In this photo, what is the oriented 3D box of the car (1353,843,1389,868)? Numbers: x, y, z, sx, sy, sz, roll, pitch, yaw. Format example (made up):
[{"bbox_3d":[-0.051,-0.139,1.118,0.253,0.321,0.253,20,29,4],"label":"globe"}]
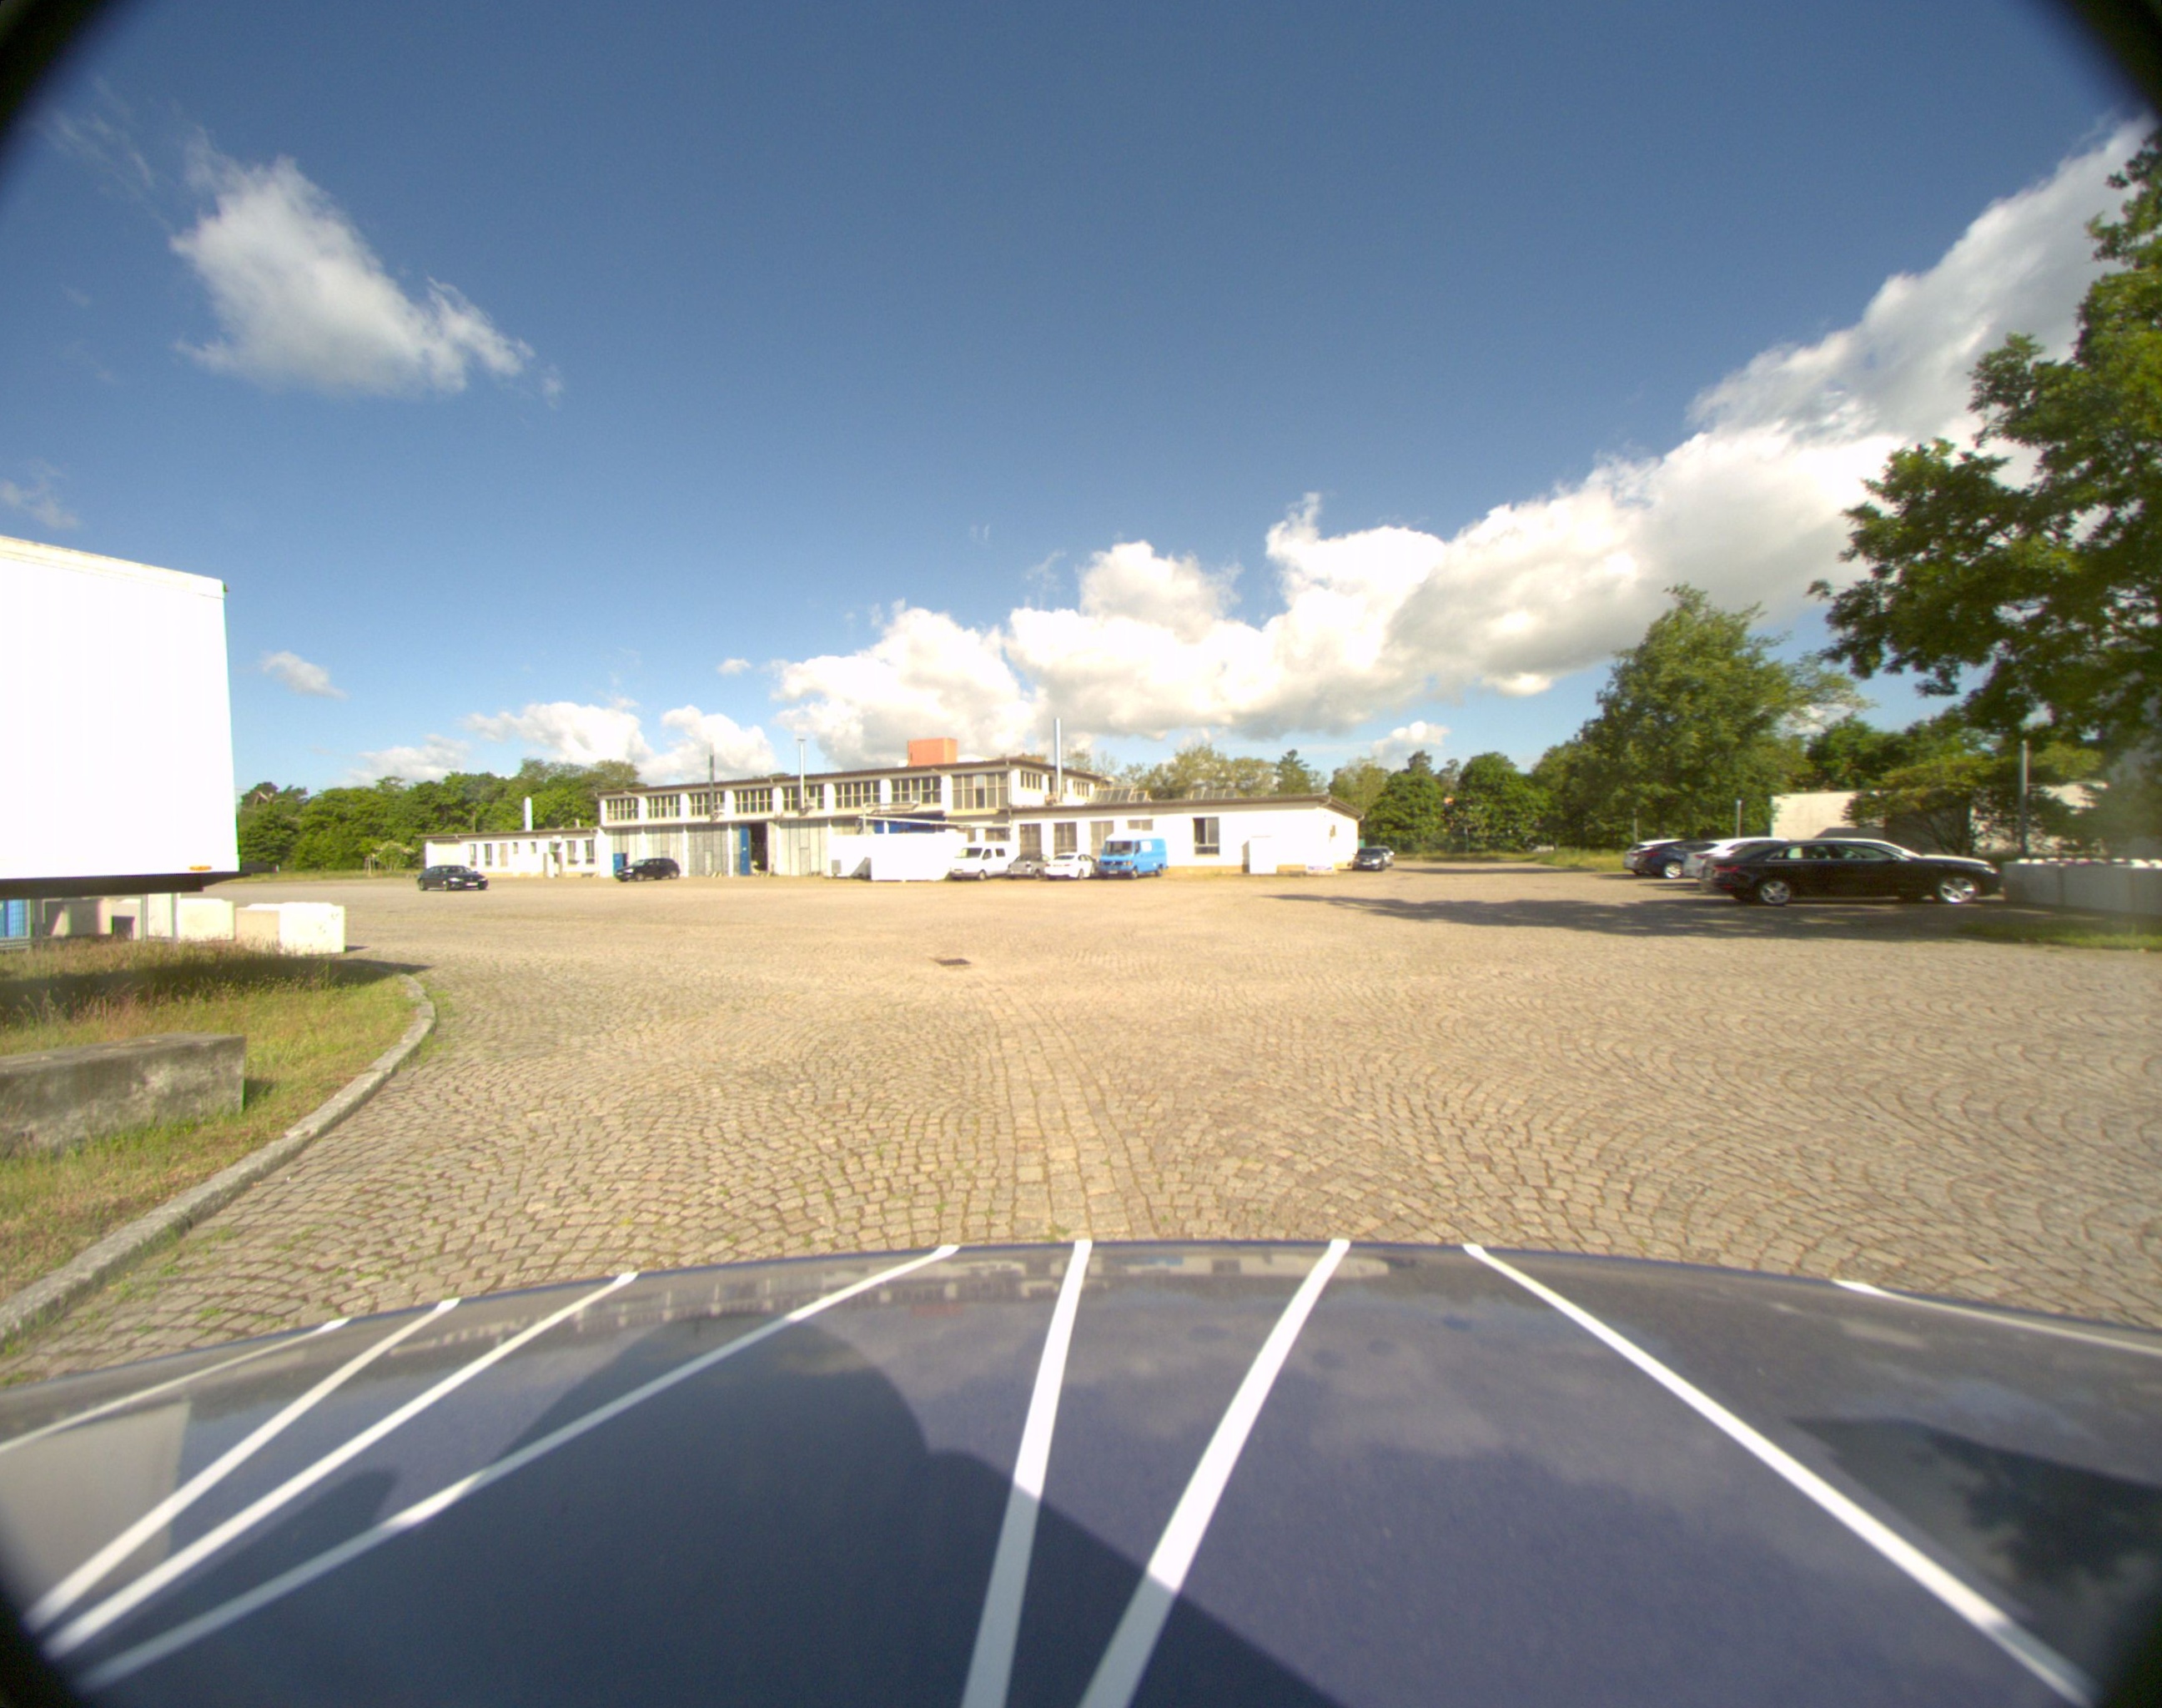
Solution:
[{"bbox_3d":[17.586,0.049,45.989,1.765,1.427,3.998,0,1,25],"label":"car"}]

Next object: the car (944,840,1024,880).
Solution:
[{"bbox_3d":[-5.372,0.286,42.770,2.005,2.069,4.812,-1,1,28],"label":"car"}]

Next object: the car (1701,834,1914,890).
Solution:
[{"bbox_3d":[20.025,0.245,21.181,3.916,1.364,1.731,-3,0,26],"label":"car"}]

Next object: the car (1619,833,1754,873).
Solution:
[{"bbox_3d":[24.307,-0.020,30.680,3.916,1.427,1.799,-3,0,26],"label":"car"}]

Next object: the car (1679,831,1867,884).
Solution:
[{"bbox_3d":[21.193,0.124,23.478,3.916,1.438,1.758,-3,0,26],"label":"car"}]

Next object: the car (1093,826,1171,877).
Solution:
[{"bbox_3d":[2.789,-0.141,40.008,2.084,2.469,5.248,-1,1,28],"label":"car"}]

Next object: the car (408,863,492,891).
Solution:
[{"bbox_3d":[-34.300,1.240,41.289,4.066,1.421,1.743,-1,1,22],"label":"car"}]

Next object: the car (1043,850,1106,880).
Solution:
[{"bbox_3d":[-0.298,0.555,40.079,1.733,1.398,3.744,-1,2,27],"label":"car"}]

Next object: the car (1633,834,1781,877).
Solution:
[{"bbox_3d":[23.156,0.057,28.286,3.916,1.409,1.695,-3,0,26],"label":"car"}]

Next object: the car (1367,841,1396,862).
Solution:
[{"bbox_3d":[21.940,-0.212,55.448,1.688,1.427,3.993,0,1,25],"label":"car"}]

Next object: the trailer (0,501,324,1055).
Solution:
[{"bbox_3d":[-10.538,-0.457,2.549,2.774,3.888,10.905,-1,1,27],"label":"trailer"}]

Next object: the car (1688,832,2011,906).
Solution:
[{"bbox_3d":[16.773,0.350,16.959,4.723,1.414,1.760,-3,0,24],"label":"car"}]

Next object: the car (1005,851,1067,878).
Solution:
[{"bbox_3d":[-2.438,0.568,42.124,1.688,1.390,3.838,0,1,27],"label":"car"}]

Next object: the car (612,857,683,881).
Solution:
[{"bbox_3d":[-30.625,1.039,53.744,1.736,1.461,4.082,-1,1,23],"label":"car"}]

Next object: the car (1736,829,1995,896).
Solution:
[{"bbox_3d":[19.175,0.224,18.859,4.141,1.451,1.694,-3,0,30],"label":"car"}]
